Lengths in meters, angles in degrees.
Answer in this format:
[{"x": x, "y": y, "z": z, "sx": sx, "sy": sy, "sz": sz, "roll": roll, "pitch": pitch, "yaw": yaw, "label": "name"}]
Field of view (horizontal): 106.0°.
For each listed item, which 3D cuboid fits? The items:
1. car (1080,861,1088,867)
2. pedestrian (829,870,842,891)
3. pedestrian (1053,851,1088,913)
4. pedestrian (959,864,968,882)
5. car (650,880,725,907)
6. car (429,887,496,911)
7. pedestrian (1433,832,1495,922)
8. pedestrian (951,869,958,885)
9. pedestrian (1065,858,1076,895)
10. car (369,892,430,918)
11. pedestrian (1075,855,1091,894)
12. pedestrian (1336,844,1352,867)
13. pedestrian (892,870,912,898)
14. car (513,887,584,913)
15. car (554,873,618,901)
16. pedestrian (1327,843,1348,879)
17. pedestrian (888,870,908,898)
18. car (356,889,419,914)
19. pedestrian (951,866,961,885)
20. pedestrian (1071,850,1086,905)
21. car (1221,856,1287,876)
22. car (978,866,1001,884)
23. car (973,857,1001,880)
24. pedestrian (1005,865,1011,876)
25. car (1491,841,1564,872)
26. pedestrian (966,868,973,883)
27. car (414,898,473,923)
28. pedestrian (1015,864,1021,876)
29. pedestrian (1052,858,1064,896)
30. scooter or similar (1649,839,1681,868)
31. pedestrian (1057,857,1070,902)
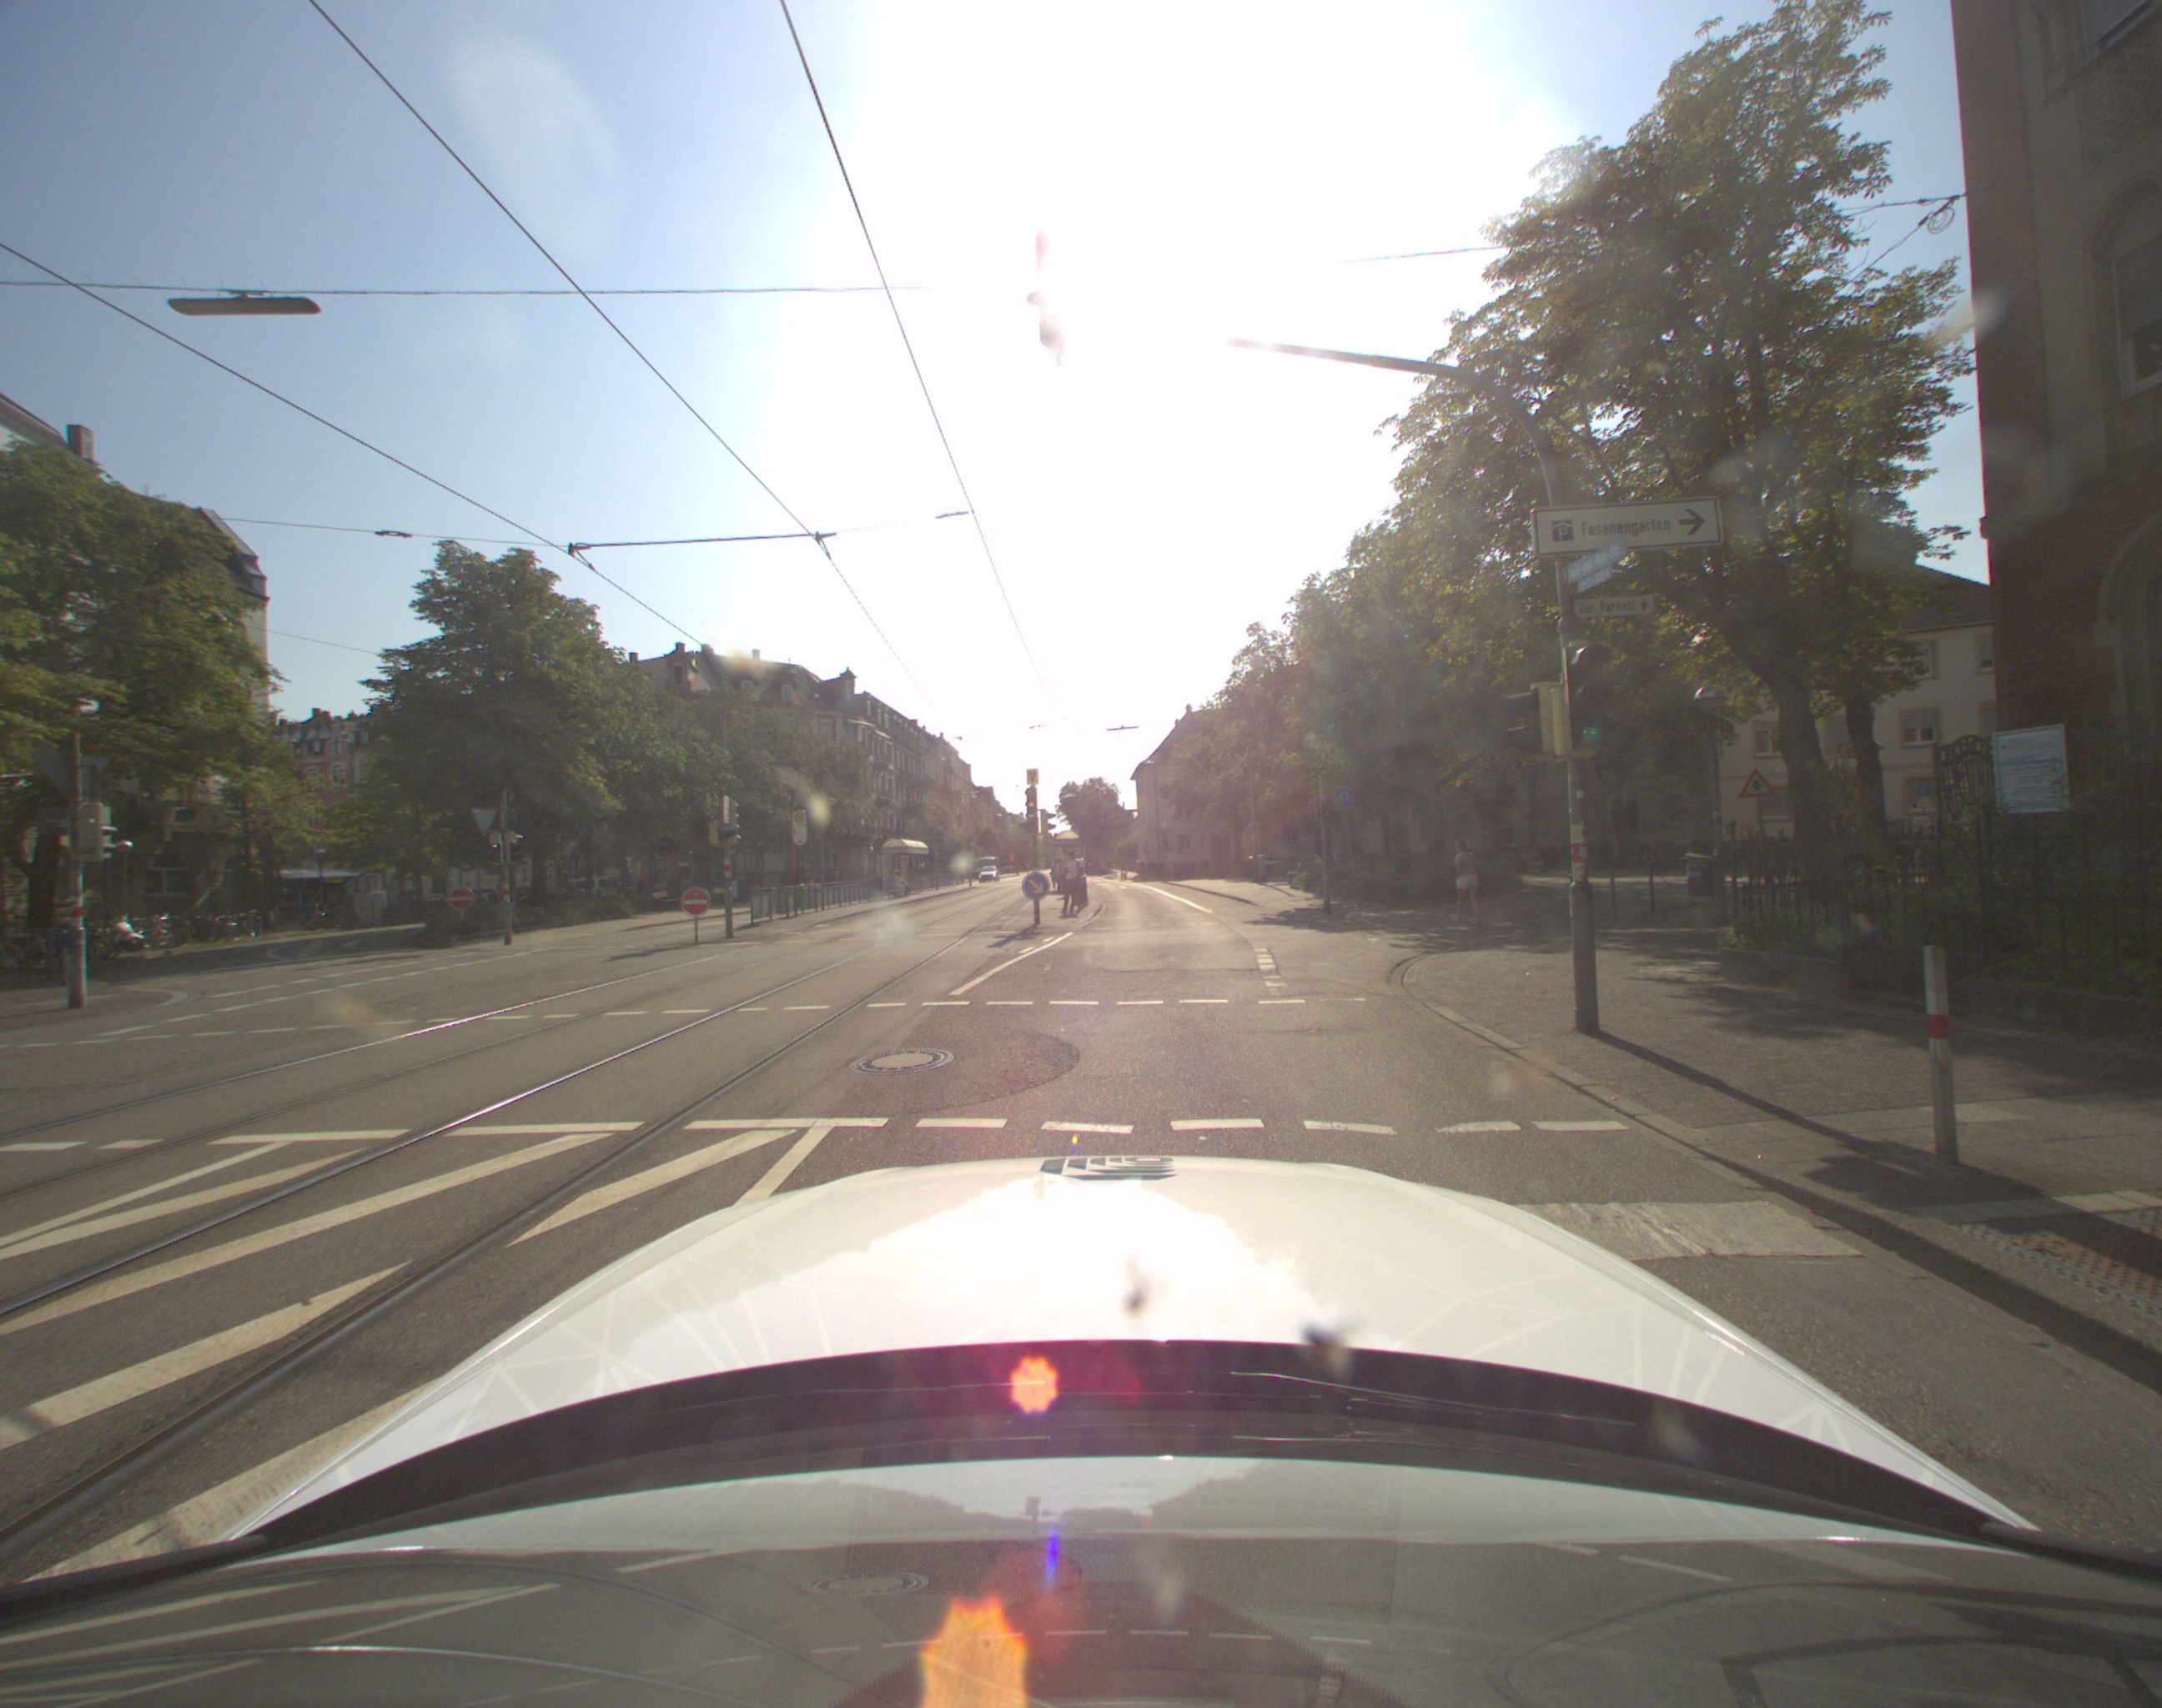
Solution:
[{"x": 0.964, "y": 3.083, "z": 255.477, "sx": 1.983, "sy": 1.783, "sz": 4.008, "roll": -2, "pitch": -1, "yaw": 7, "label": "car"}, {"x": -20.882, "y": 2.222, "z": 69.160, "sx": 0.775, "sy": 1.731, "sz": 0.744, "roll": -2, "pitch": -1, "yaw": -38, "label": "pedestrian"}, {"x": -0.305, "y": 0.789, "z": 23.594, "sx": 0.693, "sy": 1.725, "sz": 0.753, "roll": 1, "pitch": 2, "yaw": 33, "label": "pedestrian"}, {"x": -11.553, "y": 1.912, "z": 80.241, "sx": 0.749, "sy": 1.731, "sz": 0.769, "roll": -2, "pitch": -1, "yaw": -9, "label": "pedestrian"}, {"x": -26.848, "y": 2.664, "z": 55.715, "sx": 4.335, "sy": 1.569, "sz": 1.987, "roll": -2, "pitch": -1, "yaw": -19, "label": "car"}, {"x": -46.237, "y": 3.357, "z": 60.894, "sx": 4.284, "sy": 1.569, "sz": 2.011, "roll": -3, "pitch": -1, "yaw": 22, "label": "car"}, {"x": 7.673, "y": 0.452, "z": 16.355, "sx": 0.749, "sy": 1.731, "sz": 0.769, "roll": -2, "pitch": -1, "yaw": -9, "label": "pedestrian"}, {"x": -14.328, "y": 2.587, "z": 92.334, "sx": 0.749, "sy": 1.731, "sz": 0.769, "roll": -2, "pitch": -1, "yaw": -9, "label": "pedestrian"}, {"x": -0.490, "y": 1.094, "z": 39.376, "sx": 0.502, "sy": 1.759, "sz": 0.534, "roll": 0, "pitch": 1, "yaw": 0, "label": "pedestrian"}, {"x": -53.597, "y": 3.990, "z": 64.067, "sx": 3.952, "sy": 1.828, "sz": 2.011, "roll": -3, "pitch": -1, "yaw": 22, "label": "car"}, {"x": 0.076, "y": 0.915, "z": 36.757, "sx": 0.706, "sy": 1.759, "sz": 0.534, "roll": 0, "pitch": 1, "yaw": 0, "label": "pedestrian"}, {"x": 20.857, "y": 0.128, "z": 64.644, "sx": 0.780, "sy": 1.740, "sz": 0.883, "roll": -2, "pitch": -1, "yaw": -41, "label": "pedestrian"}, {"x": -9.050, "y": 1.491, "z": 41.216, "sx": 0.826, "sy": 1.359, "sz": 0.775, "roll": -3, "pitch": -1, "yaw": -4, "label": "pedestrian"}, {"x": -37.147, "y": 3.222, "z": 56.812, "sx": 4.284, "sy": 1.569, "sz": 2.011, "roll": -3, "pitch": -1, "yaw": 22, "label": "car"}, {"x": -36.794, "y": 2.437, "z": 60.551, "sx": 3.952, "sy": 1.828, "sz": 2.011, "roll": -3, "pitch": -1, "yaw": 22, "label": "car"}, {"x": 12.860, "y": 0.336, "z": 40.830, "sx": 0.884, "sy": 1.740, "sz": 0.780, "roll": -3, "pitch": -1, "yaw": 20, "label": "pedestrian"}, {"x": -9.037, "y": 1.476, "z": 40.240, "sx": 0.826, "sy": 1.359, "sz": 0.775, "roll": -3, "pitch": -1, "yaw": -4, "label": "pedestrian"}, {"x": -58.801, "y": 4.000, "z": 69.061, "sx": 3.959, "sy": 1.828, "sz": 2.007, "roll": -3, "pitch": -1, "yaw": 13, "label": "car"}, {"x": -11.612, "y": 1.994, "z": 75.663, "sx": 0.747, "sy": 1.731, "sz": 0.772, "roll": -3, "pitch": -1, "yaw": 2, "label": "pedestrian"}, {"x": -0.094, "y": 0.791, "z": 27.859, "sx": 0.502, "sy": 1.834, "sz": 0.534, "roll": 0, "pitch": 1, "yaw": 0, "label": "pedestrian"}, {"x": 12.783, "y": 0.884, "z": 60.154, "sx": 4.280, "sy": 1.320, "sz": 2.013, "roll": -3, "pitch": -1, "yaw": 39, "label": "car"}, {"x": -9.246, "y": 2.109, "z": 82.317, "sx": 1.795, "sy": 1.653, "sz": 3.643, "roll": -3, "pitch": -1, "yaw": 1, "label": "car"}, {"x": -11.450, "y": 1.776, "z": 99.664, "sx": 2.337, "sy": 2.662, "sz": 5.110, "roll": -3, "pitch": -1, "yaw": 4, "label": "car"}, {"x": -11.561, "y": 2.582, "z": 129.171, "sx": 0.749, "sy": 1.731, "sz": 0.769, "roll": -2, "pitch": -1, "yaw": -9, "label": "pedestrian"}, {"x": 22.235, "y": 0.123, "z": 40.729, "sx": 1.843, "sy": 1.418, "sz": 4.009, "roll": -3, "pitch": -1, "yaw": 8, "label": "car"}, {"x": -13.381, "y": 2.619, "z": 97.694, "sx": 0.749, "sy": 1.731, "sz": 0.769, "roll": -2, "pitch": -1, "yaw": -9, "label": "pedestrian"}, {"x": -52.304, "y": 4.626, "z": 66.819, "sx": 3.952, "sy": 1.828, "sz": 2.011, "roll": -3, "pitch": -1, "yaw": 22, "label": "car"}, {"x": -9.646, "y": 2.454, "z": 124.173, "sx": 0.749, "sy": 1.731, "sz": 0.769, "roll": -2, "pitch": -1, "yaw": -9, "label": "pedestrian"}, {"x": -1.107, "y": 1.099, "z": 38.798, "sx": 0.530, "sy": 1.759, "sz": 0.545, "roll": 0, "pitch": 1, "yaw": 2, "label": "pedestrian"}, {"x": 26.960, "y": -0.020, "z": 37.612, "sx": 1.059, "sy": 1.197, "sz": 0.462, "roll": -7, "pitch": -2, "yaw": 32, "label": "scooter or similar"}, {"x": -0.689, "y": 0.998, "z": 32.562, "sx": 0.502, "sy": 1.759, "sz": 0.534, "roll": 0, "pitch": 1, "yaw": 0, "label": "pedestrian"}]
